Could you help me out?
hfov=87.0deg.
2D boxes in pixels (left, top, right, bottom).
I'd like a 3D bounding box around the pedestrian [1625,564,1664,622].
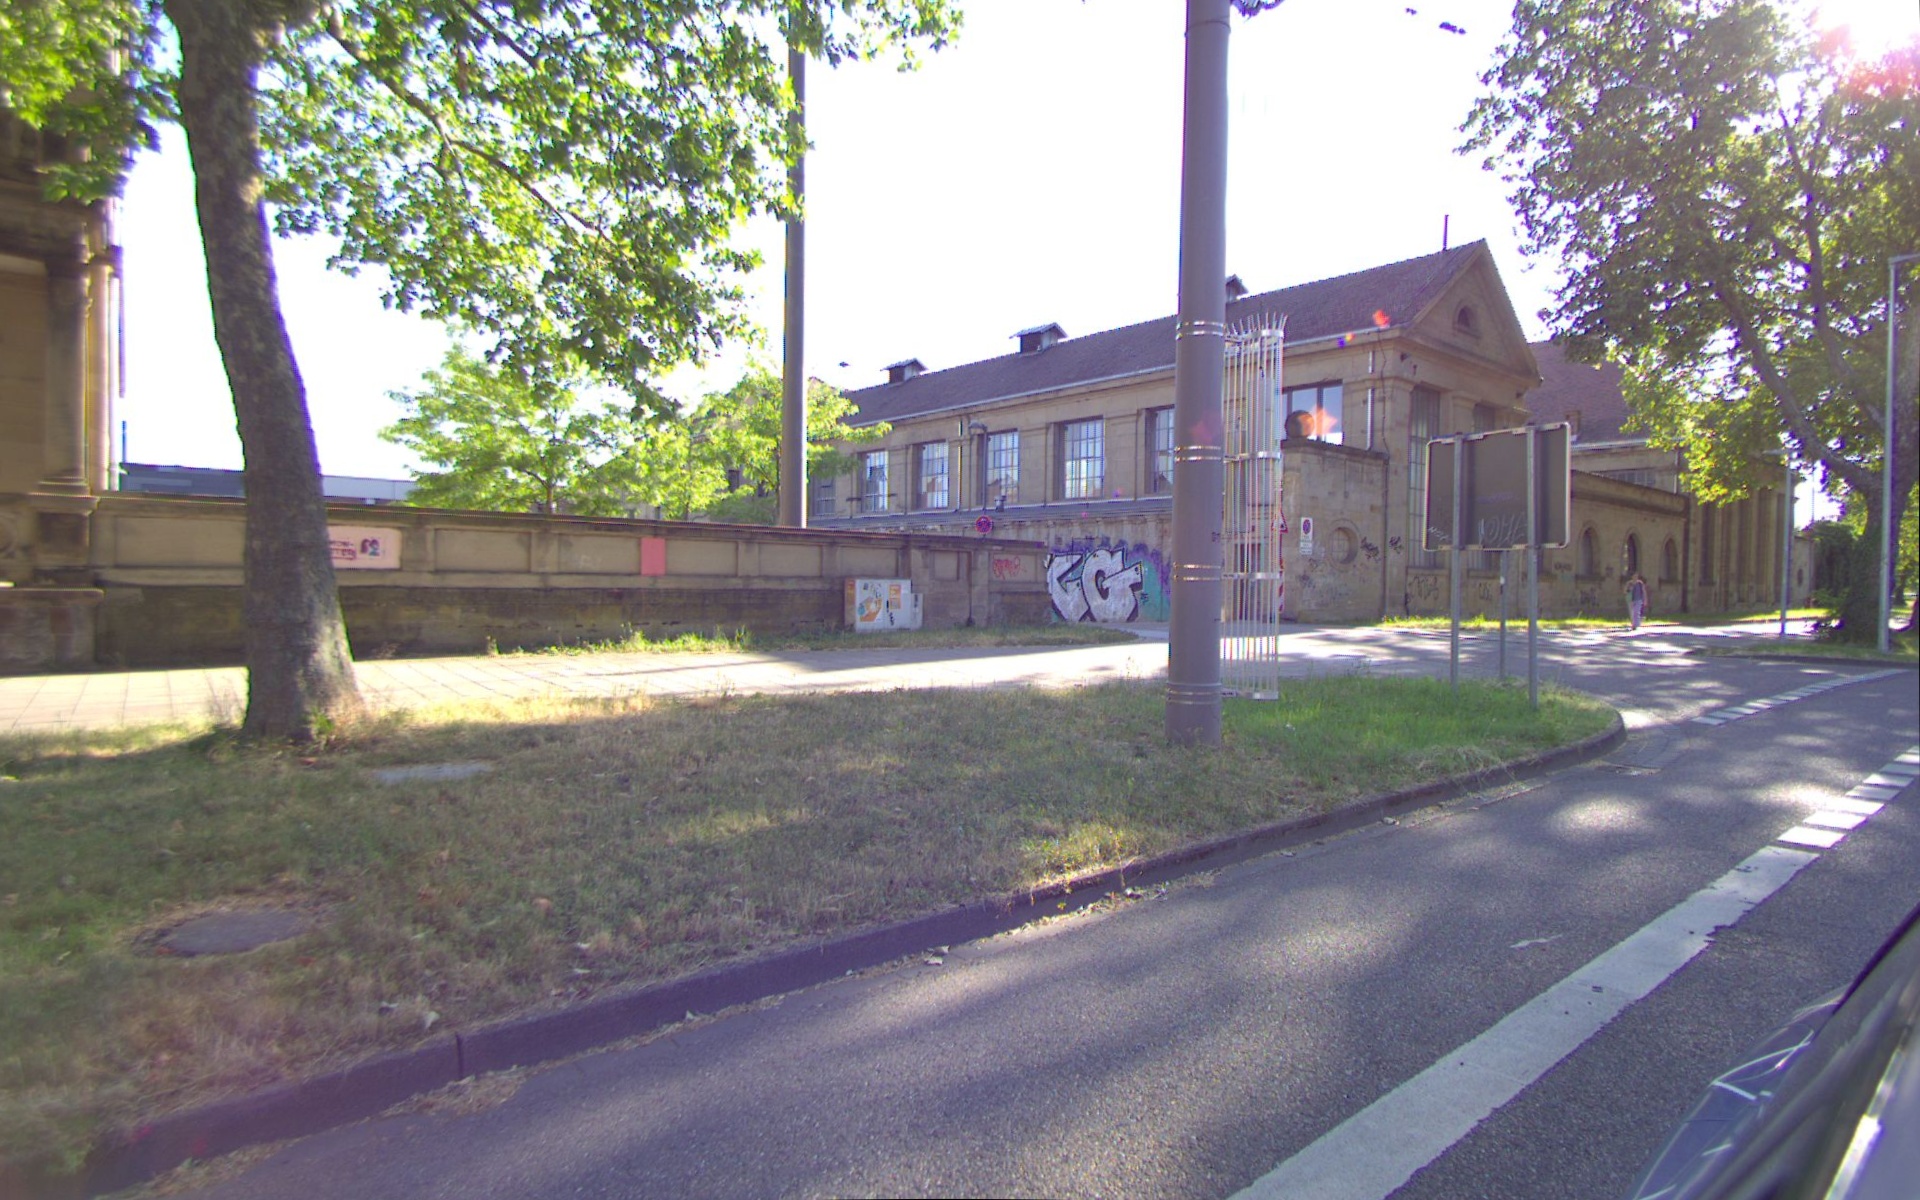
[{"bbox_3d":[20.343,-0.220,30.058,0.858,1.682,0.672,0,2,-38],"label":"pedestrian"}]
